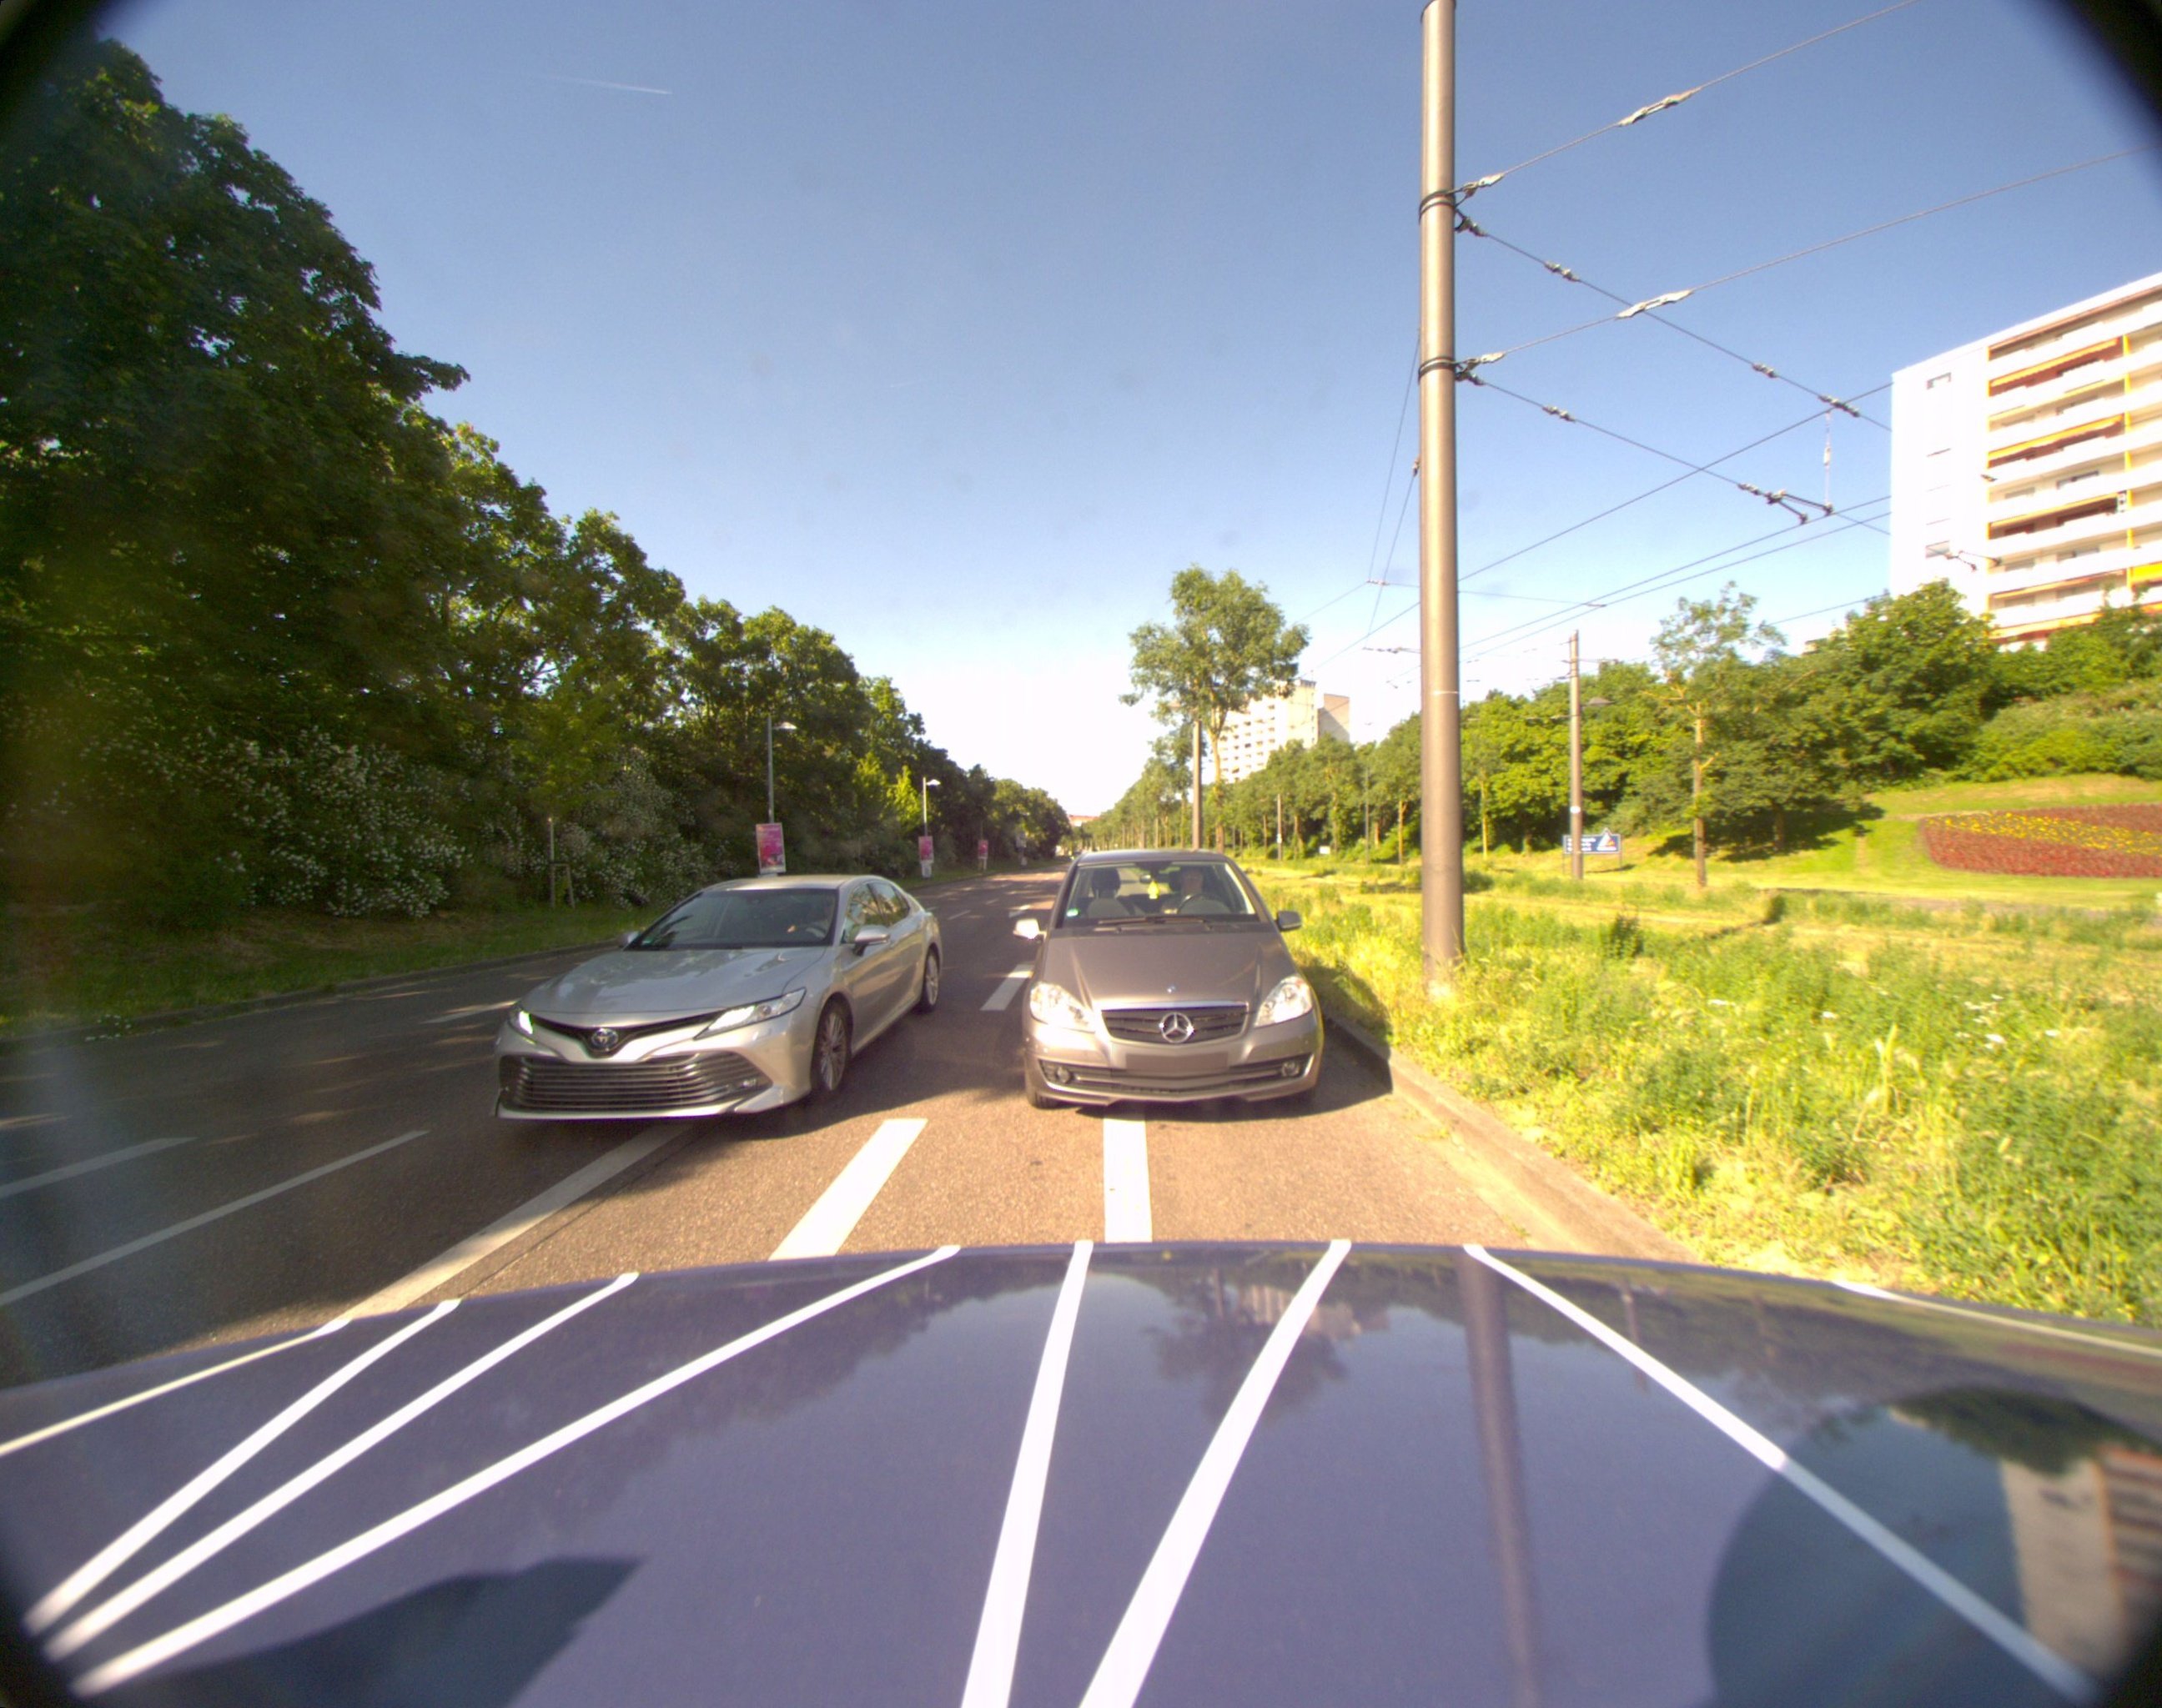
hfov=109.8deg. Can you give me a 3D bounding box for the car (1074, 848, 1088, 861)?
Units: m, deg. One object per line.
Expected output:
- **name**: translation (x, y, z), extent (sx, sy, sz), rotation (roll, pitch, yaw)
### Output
- **car**: translation (0.068, 0.057, 120.686), extent (1.998, 1.882, 5.148), rotation (-1, 0, 1)

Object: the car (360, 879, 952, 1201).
- **car**: translation (-2.580, 1.036, 6.256), extent (2.069, 1.451, 4.749), rotation (-1, 0, 2)

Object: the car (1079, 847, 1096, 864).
- **car**: translation (0.794, 0.131, 89.008), extent (1.822, 1.893, 4.622), rotation (-1, 0, 2)

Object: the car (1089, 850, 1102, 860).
- **car**: translation (2.079, 0.151, 107.400), extent (1.776, 1.395, 4.067), rotation (-1, 0, 2)

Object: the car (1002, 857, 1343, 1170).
- **car**: translation (0.514, 0.855, 6.202), extent (1.777, 1.597, 4.384), rotation (-1, 0, 1)
